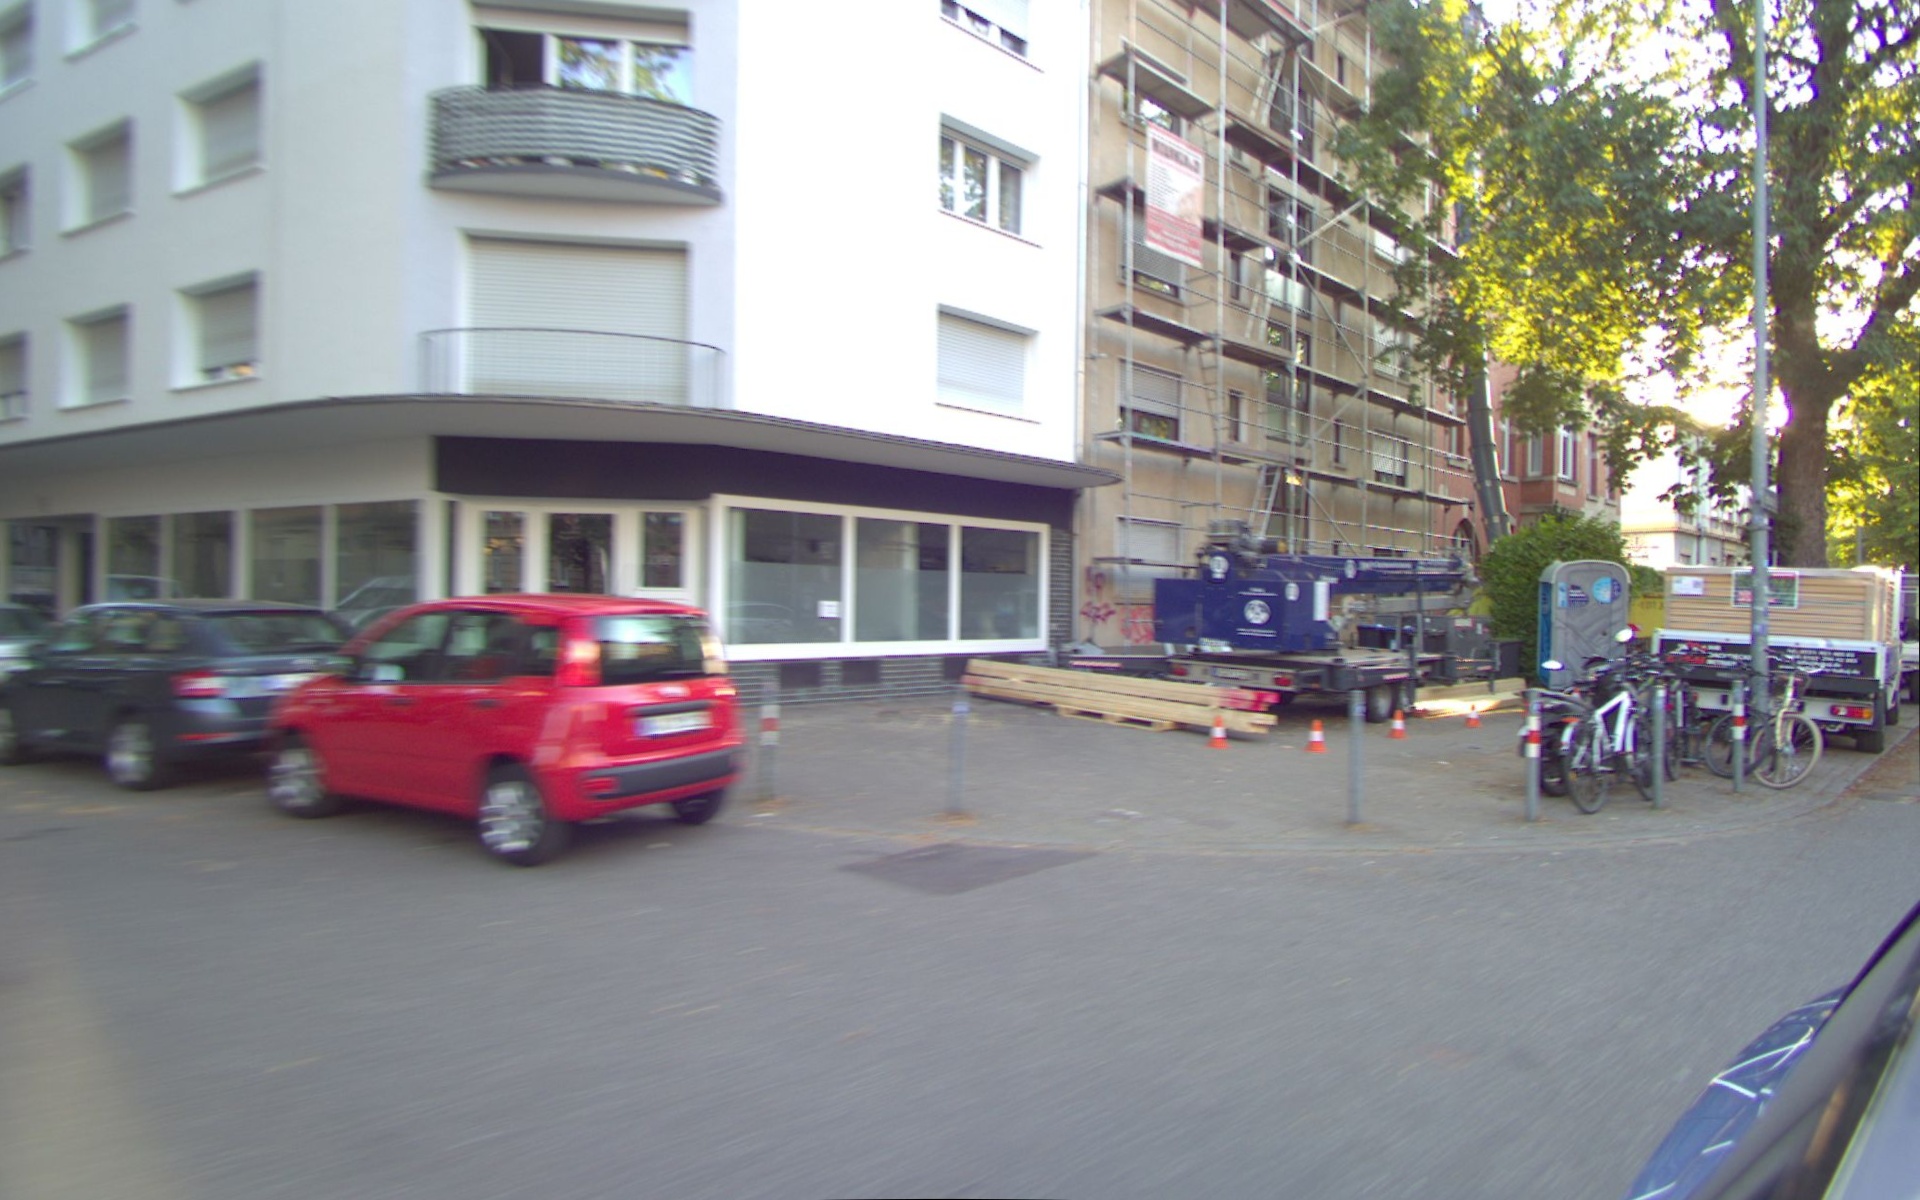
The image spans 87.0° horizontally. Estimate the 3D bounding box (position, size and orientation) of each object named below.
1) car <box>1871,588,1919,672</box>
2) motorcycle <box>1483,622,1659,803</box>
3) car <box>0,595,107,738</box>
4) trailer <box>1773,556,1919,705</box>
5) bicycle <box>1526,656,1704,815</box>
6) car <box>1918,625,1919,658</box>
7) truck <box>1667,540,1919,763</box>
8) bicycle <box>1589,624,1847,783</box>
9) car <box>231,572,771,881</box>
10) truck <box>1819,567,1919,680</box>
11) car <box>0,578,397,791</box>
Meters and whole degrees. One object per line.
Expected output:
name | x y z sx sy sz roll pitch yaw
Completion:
car | 24.650 0.783 25.672 4.535 1.966 1.841 2 2 -43
motorcycle | 5.338 0.907 8.786 2.023 1.373 0.504 0 2 -35
car | -11.569 0.681 11.254 4.191 1.447 1.642 0 0 26
trailer | 16.355 0.489 18.198 4.565 2.324 1.957 1 2 -42
bicycle | 5.414 1.054 8.312 2.113 1.123 0.407 1 2 -35
car | 32.538 0.869 32.723 4.749 2.084 1.957 2 2 -44
truck | 11.301 0.511 13.397 6.665 2.273 1.978 0 0 -44
bicycle | 7.226 0.937 9.735 1.903 1.274 0.400 4 2 43
car | -3.162 0.659 6.899 3.448 1.593 1.609 1 -1 30
truck | 20.917 0.519 22.555 4.563 2.274 1.958 2 2 -41
car | -6.918 0.630 8.884 3.860 1.527 1.610 0 -2 28
